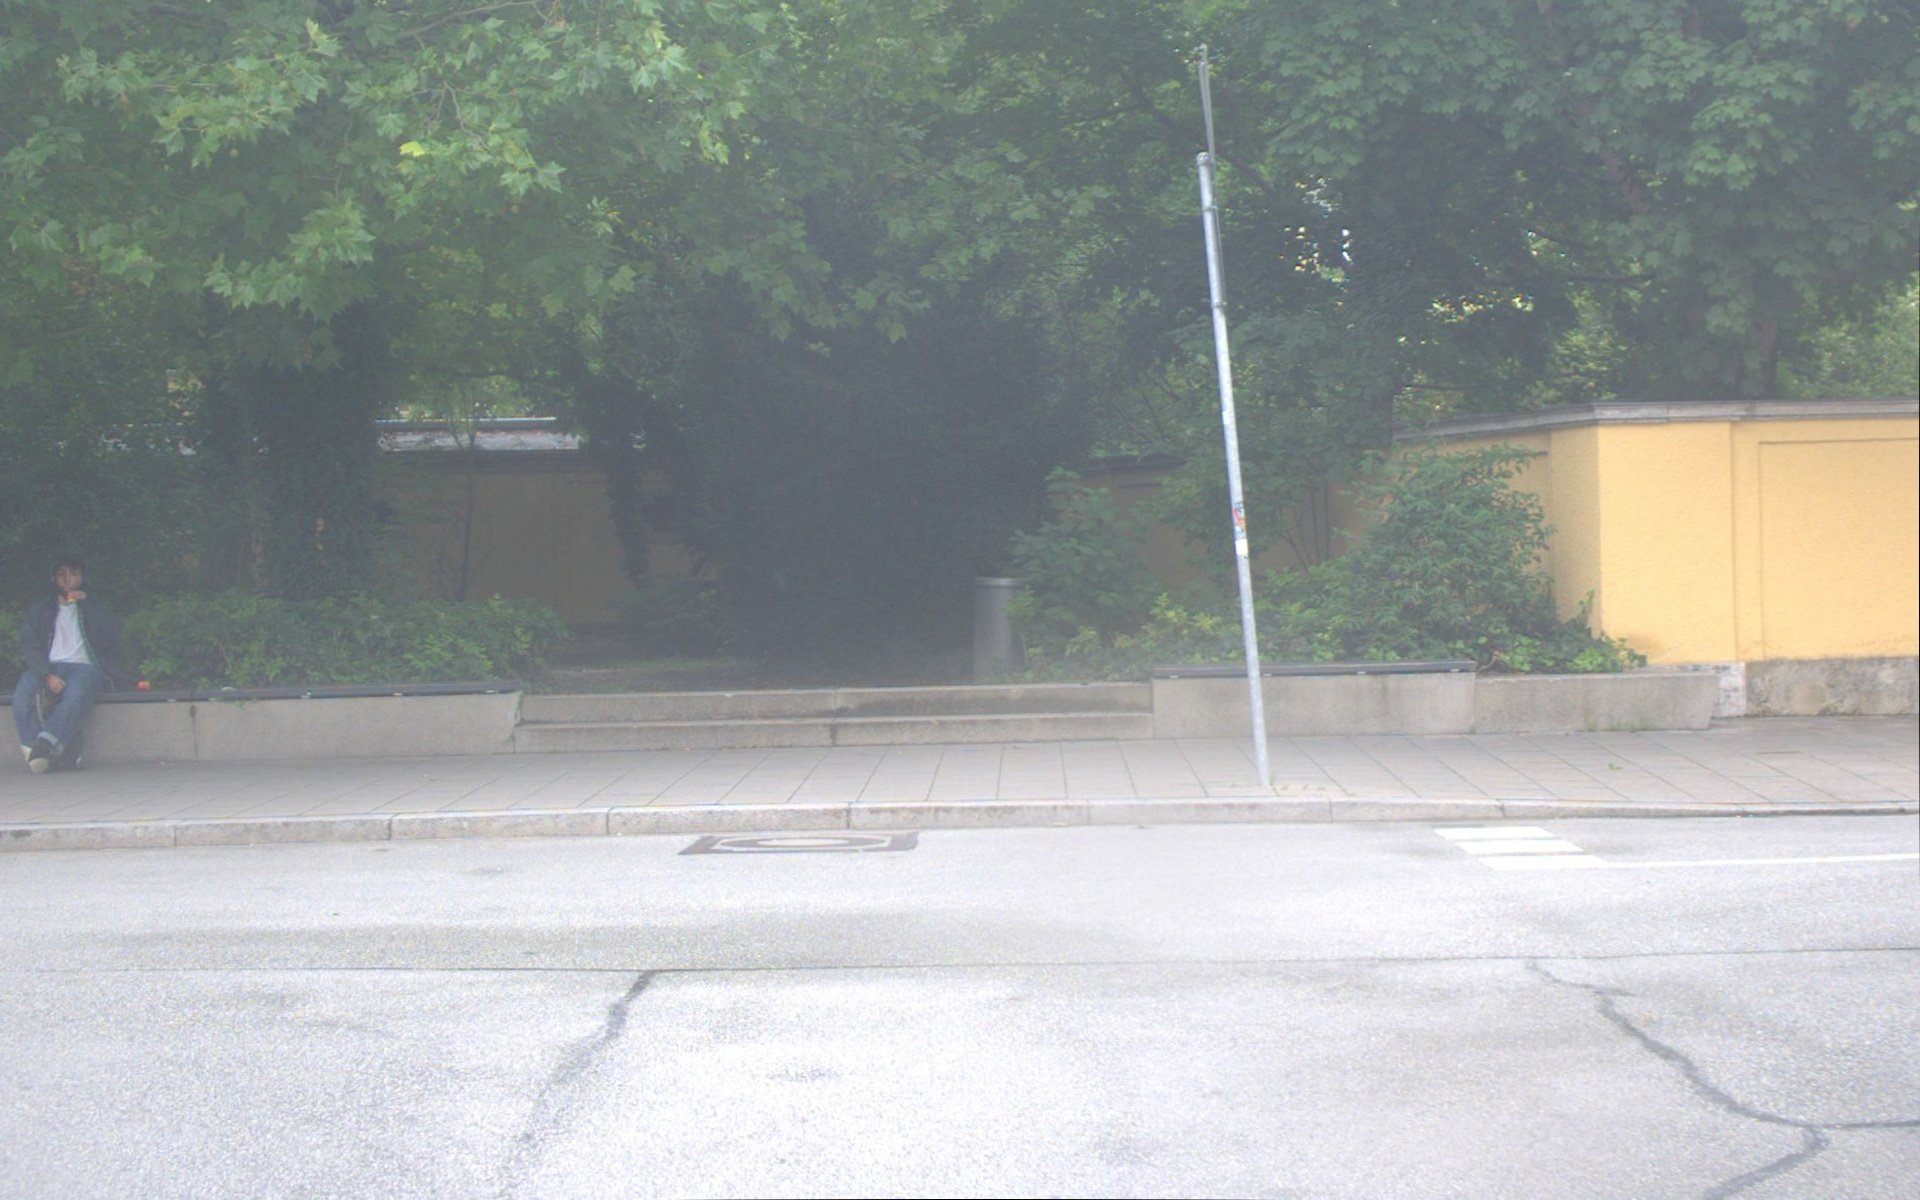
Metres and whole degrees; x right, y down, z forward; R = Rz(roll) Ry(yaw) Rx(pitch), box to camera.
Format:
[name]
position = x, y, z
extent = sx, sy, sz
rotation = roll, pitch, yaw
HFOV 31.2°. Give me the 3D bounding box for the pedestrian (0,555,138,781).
[pedestrian]
position = -5.636, 0.405, 21.315
extent = 0.769, 1.352, 1.131
rotation = -1, 1, 1
